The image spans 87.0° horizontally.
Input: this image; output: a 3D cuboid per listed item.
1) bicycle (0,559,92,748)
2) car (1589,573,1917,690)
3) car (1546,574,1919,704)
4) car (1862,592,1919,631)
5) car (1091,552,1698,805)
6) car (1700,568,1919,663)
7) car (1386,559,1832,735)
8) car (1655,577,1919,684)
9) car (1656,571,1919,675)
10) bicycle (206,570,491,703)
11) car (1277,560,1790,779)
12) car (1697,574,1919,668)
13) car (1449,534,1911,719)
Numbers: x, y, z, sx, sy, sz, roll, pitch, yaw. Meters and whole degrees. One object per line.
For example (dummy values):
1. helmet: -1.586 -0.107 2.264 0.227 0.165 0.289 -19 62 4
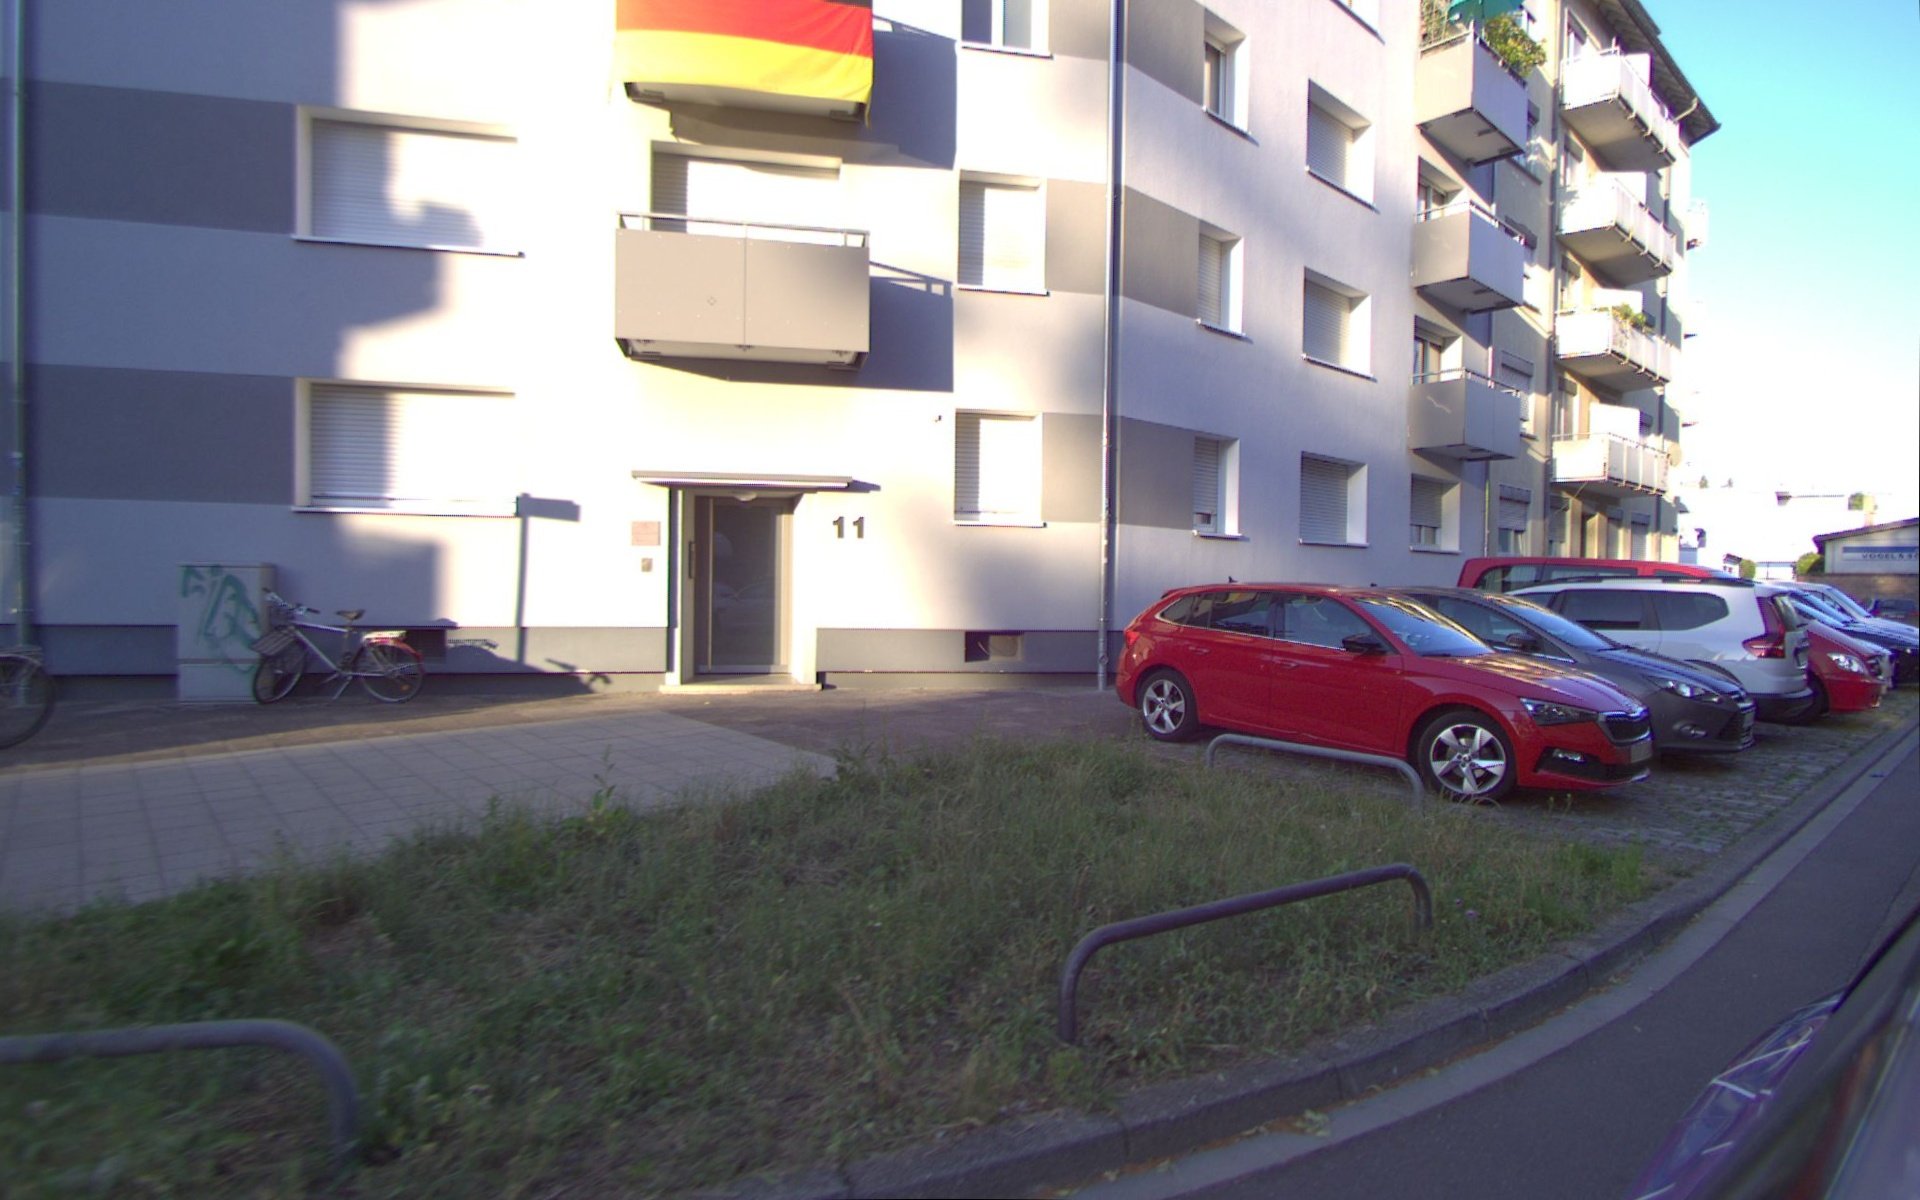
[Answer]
1. bicycle: -7.546 0.400 6.960 0.510 1.401 2.489 0 1 18
2. car: 13.112 0.413 16.911 1.964 1.705 3.995 0 1 -40
3. car: 11.312 0.455 15.081 1.962 1.660 4.001 0 1 -34
4. car: 38.715 0.436 41.611 1.988 1.508 4.373 1 1 36
5. car: 3.339 0.435 8.512 1.889 1.560 4.309 0 1 -40
6. car: 19.872 0.287 23.105 1.964 1.993 4.428 0 1 -38
7. car: 7.221 0.391 11.547 1.755 1.649 3.991 0 1 -43
8. car: 15.244 0.467 18.310 1.964 1.705 3.997 0 1 -38
9. car: 16.622 0.373 20.321 1.965 1.861 3.995 0 1 -40
10. bicycle: -6.191 0.356 10.374 2.403 1.289 0.699 0 0 -11
11. car: 5.439 0.490 9.943 1.967 1.683 3.991 0 1 -43
12. car: 18.328 0.379 21.487 1.965 1.816 3.995 0 1 -40
13. car: 9.327 0.236 13.483 1.965 2.025 4.683 0 1 -40
